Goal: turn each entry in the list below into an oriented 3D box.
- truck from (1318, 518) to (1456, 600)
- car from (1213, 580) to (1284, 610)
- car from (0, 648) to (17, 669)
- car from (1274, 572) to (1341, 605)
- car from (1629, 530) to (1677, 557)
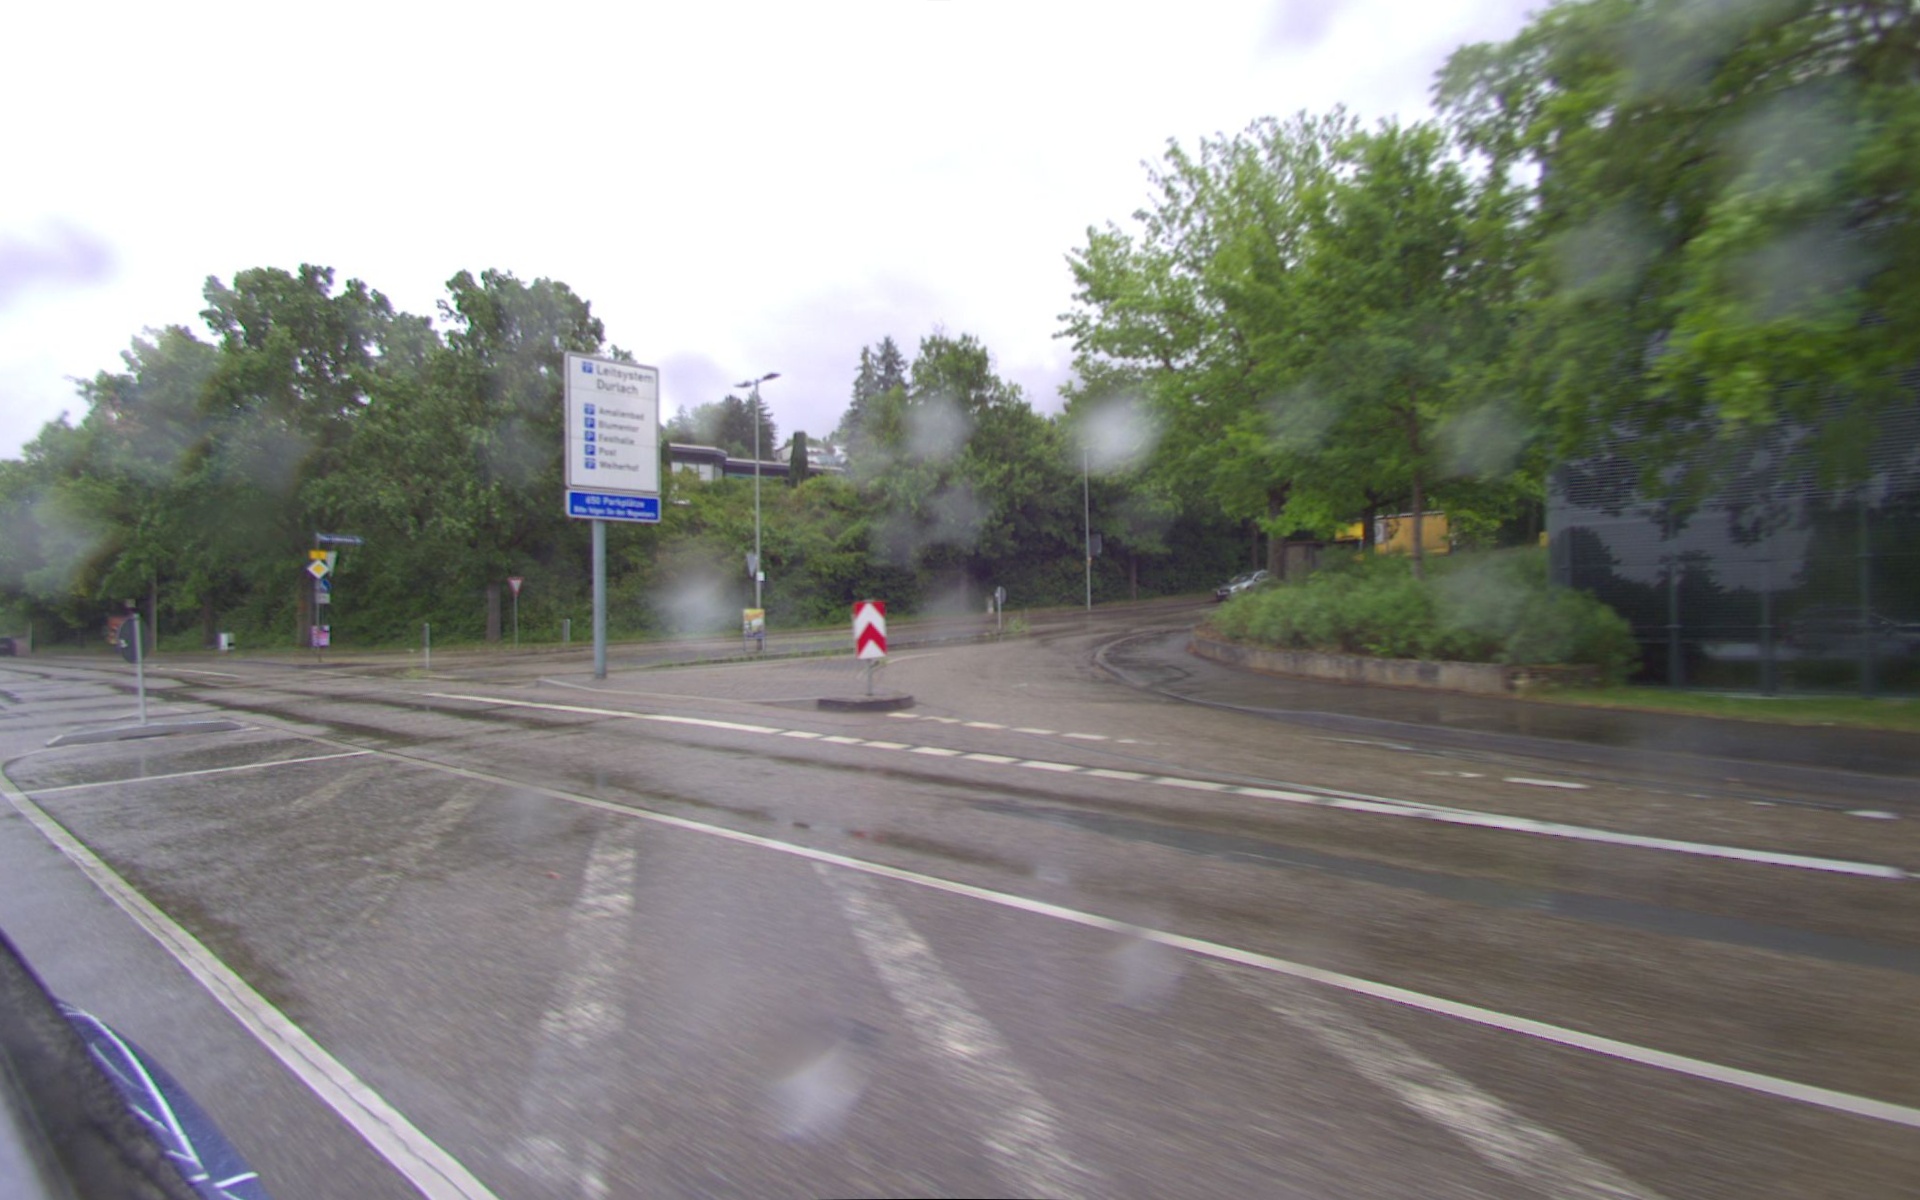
[{"bbox_3d":[26.516,-2.586,62.529,10.519,4.689,2.823,-3,0,-37],"label":"truck"},{"bbox_3d":[15.375,-0.287,53.790,3.818,1.411,1.482,-3,0,-35],"label":"car"},{"bbox_3d":[-67.152,4.087,70.261,4.733,1.430,1.671,-2,-2,37],"label":"car"},{"bbox_3d":[19.604,-0.653,57.032,3.818,1.664,1.482,-3,0,-35],"label":"car"},{"bbox_3d":[51.057,-4.174,74.521,3.937,1.775,1.803,-5,1,-38],"label":"car"}]
